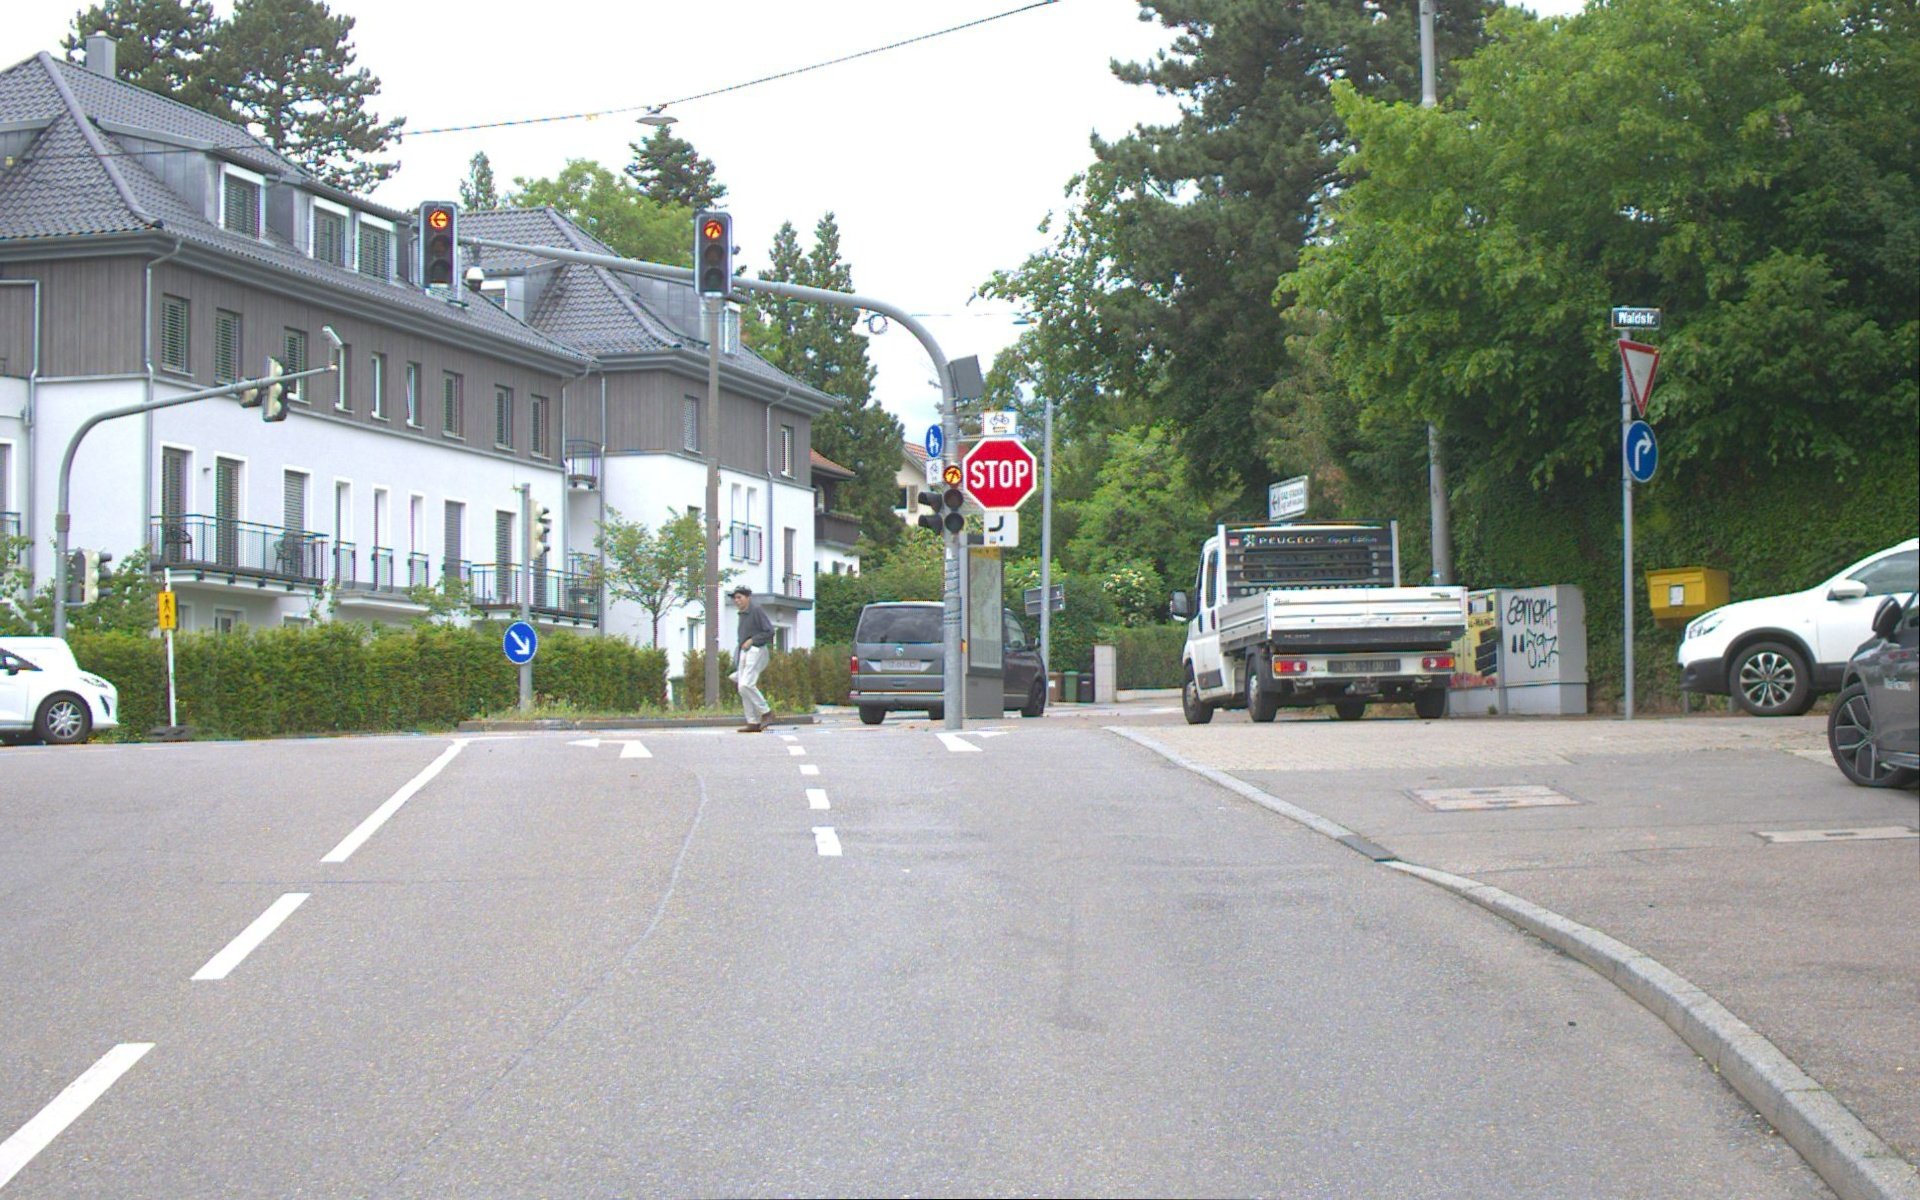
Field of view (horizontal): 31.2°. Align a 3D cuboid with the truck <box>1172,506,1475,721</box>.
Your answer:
[{"bbox_3d":[3.895,0.238,38.051,2.183,2.188,5.882,0,-2,-5],"label":"truck"}]

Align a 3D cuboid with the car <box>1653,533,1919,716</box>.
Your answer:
[{"bbox_3d":[8.603,0.247,31.434,4.244,1.588,1.986,-1,-3,18],"label":"car"}]

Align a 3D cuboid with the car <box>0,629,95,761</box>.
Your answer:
[{"bbox_3d":[-14.987,1.391,50.014,1.998,1.850,4.344,1,1,38],"label":"car"}]

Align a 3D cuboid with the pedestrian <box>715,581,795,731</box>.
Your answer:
[{"bbox_3d":[-2.324,0.622,38.906,0.698,1.676,0.686,-1,1,-24],"label":"pedestrian"}]

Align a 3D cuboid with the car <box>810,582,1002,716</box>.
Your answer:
[{"bbox_3d":[-0.818,0.832,55.475,1.995,2.007,4.506,-1,-3,14],"label":"car"}]

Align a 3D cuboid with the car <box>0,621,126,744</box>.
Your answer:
[{"bbox_3d":[-11.945,0.952,39.922,3.987,1.378,1.937,0,0,-31],"label":"car"}]

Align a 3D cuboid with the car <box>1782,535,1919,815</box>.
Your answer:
[{"bbox_3d":[5.940,0.354,18.554,1.848,1.467,4.386,-3,0,-1],"label":"car"}]
